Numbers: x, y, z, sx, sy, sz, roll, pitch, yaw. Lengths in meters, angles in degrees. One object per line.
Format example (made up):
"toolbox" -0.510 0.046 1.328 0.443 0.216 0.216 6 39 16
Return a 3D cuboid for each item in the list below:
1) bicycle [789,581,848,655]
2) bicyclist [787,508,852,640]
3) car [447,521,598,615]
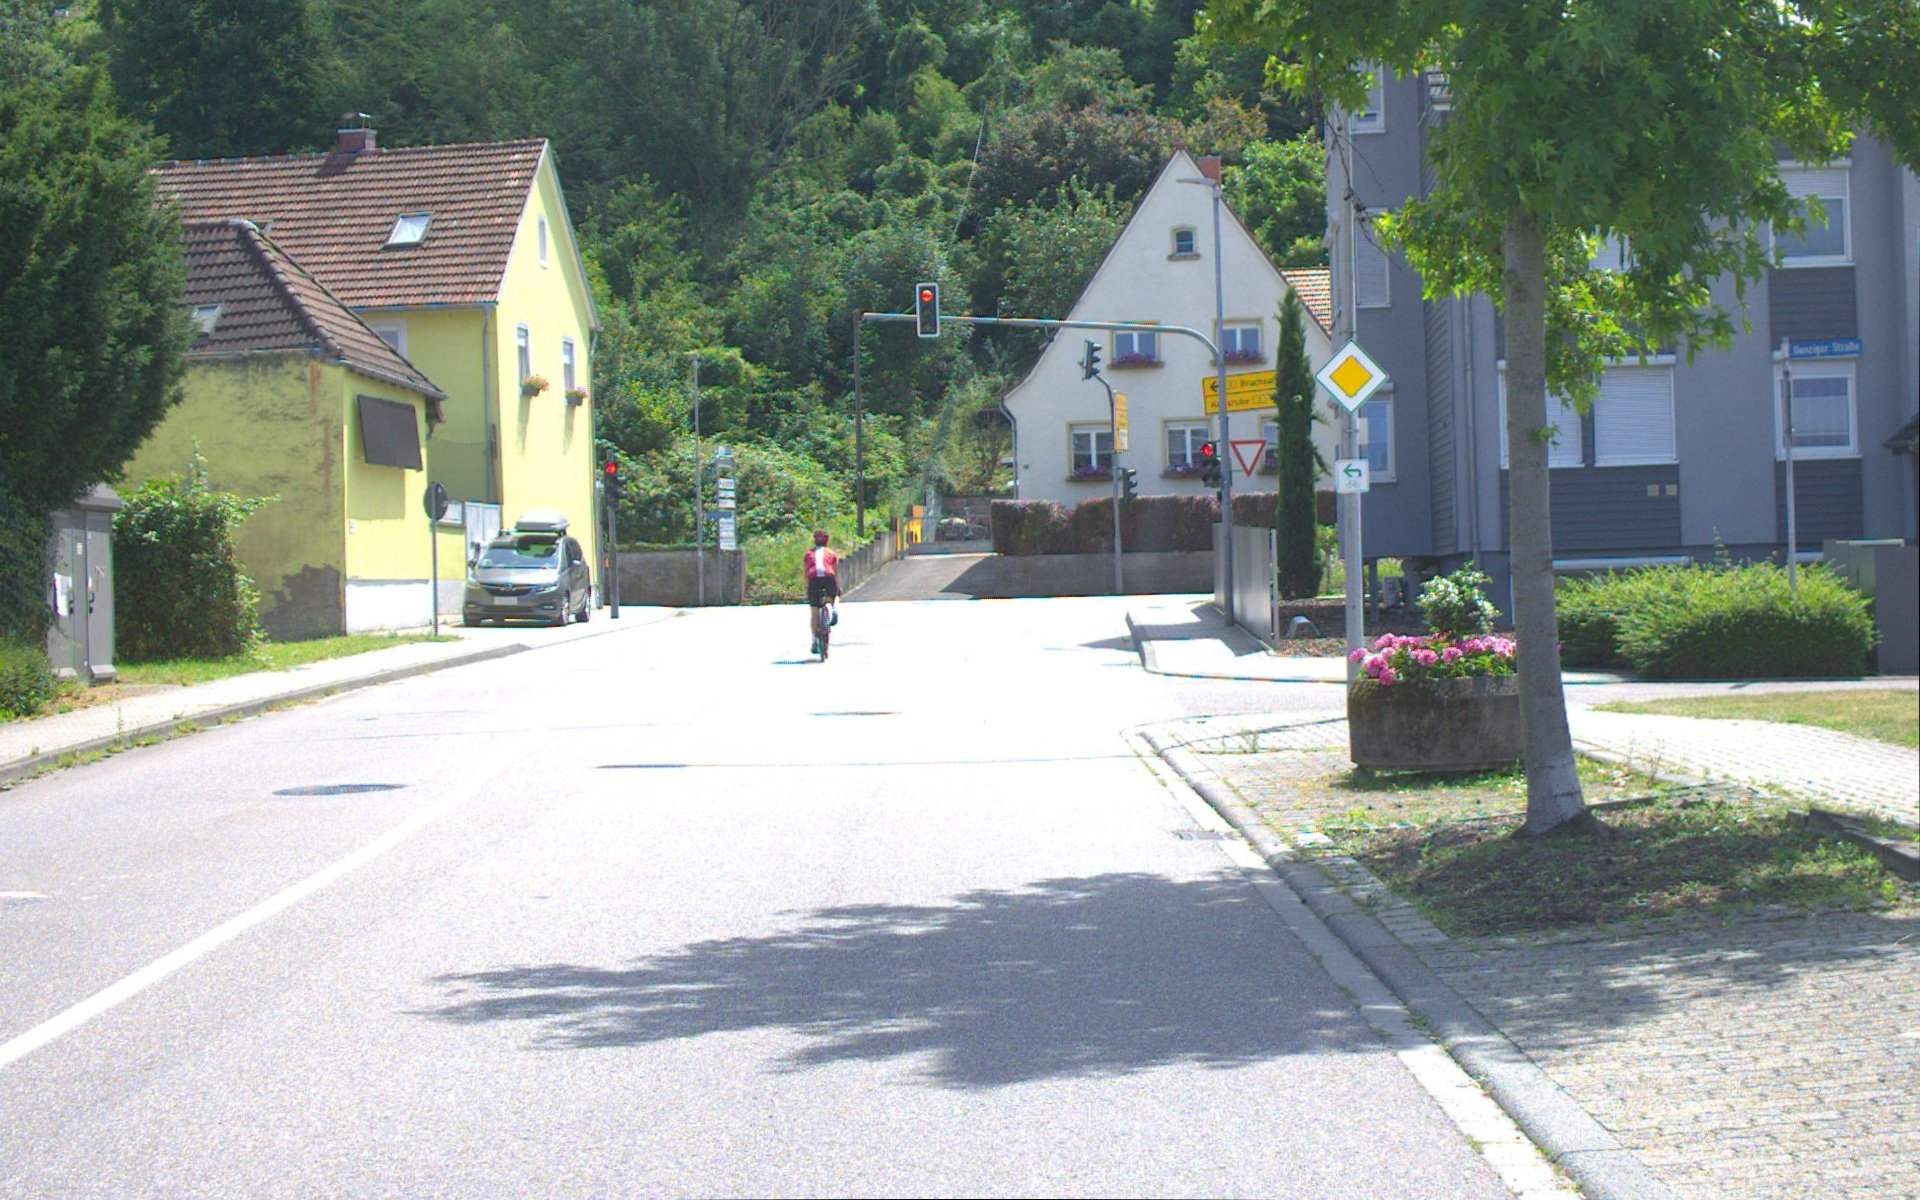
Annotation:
"bicycle" -1.806 0.227 43.952 0.630 0.902 1.657 0 1 2
"bicyclist" -1.791 -0.339 43.909 0.761 1.659 0.869 0 1 2
"car" -7.913 -0.608 62.560 1.993 1.630 4.630 0 1 2
